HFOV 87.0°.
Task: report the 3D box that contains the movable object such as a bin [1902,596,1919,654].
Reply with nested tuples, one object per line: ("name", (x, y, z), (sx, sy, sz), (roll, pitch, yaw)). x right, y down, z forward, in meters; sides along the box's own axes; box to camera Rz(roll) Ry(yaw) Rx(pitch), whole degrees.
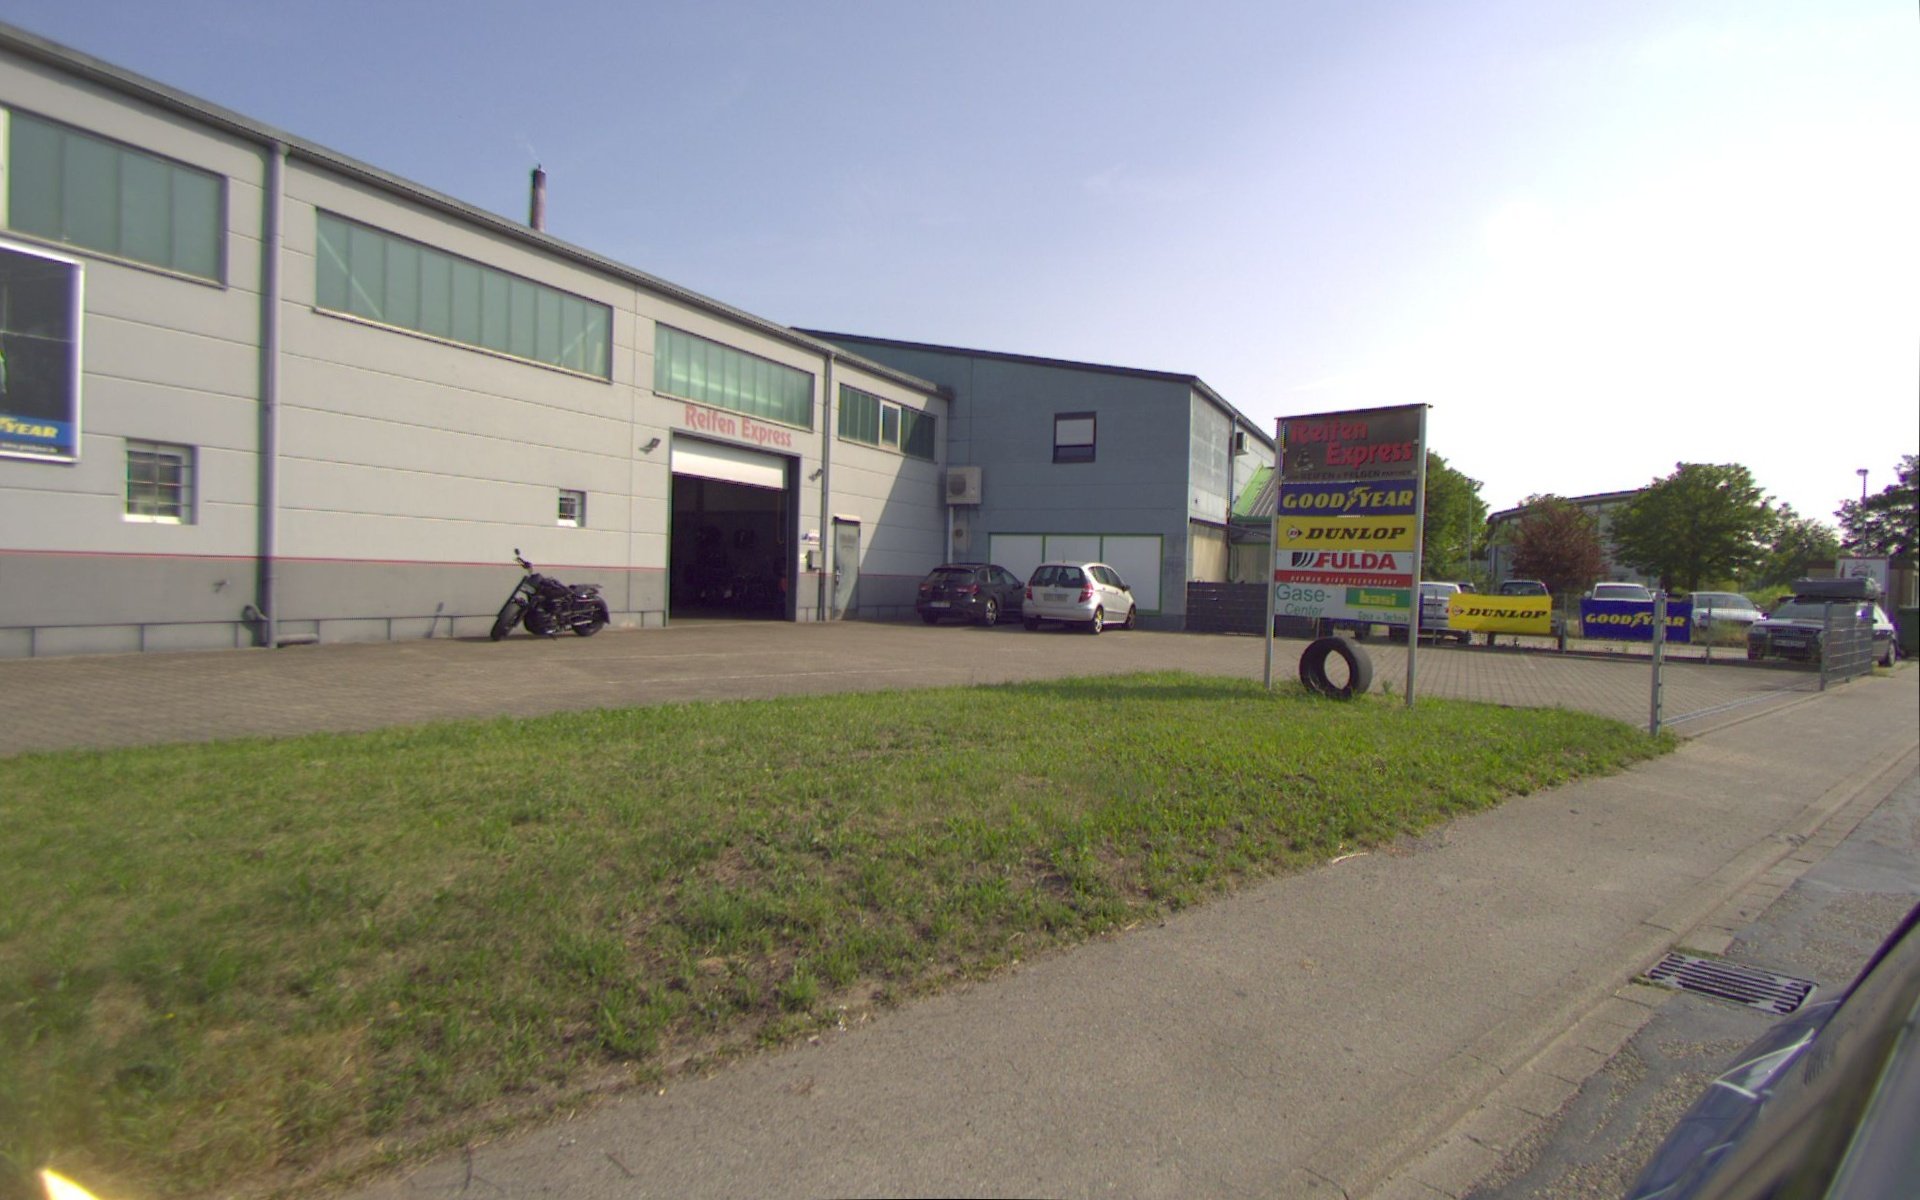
("movable object such as a bin", (24.105, 0.640, 24.876), (1.478, 1.369, 1.084), (0, 4, -38))

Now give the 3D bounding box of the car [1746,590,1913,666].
("car", (18.076, 0.531, 20.987), (4.311, 1.385, 1.679), (0, 2, -36))

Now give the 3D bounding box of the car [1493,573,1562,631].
("car", (18.144, 0.024, 32.473), (1.627, 1.741, 3.187), (2, 2, 25))

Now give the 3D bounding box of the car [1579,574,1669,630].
("car", (20.821, 0.021, 31.891), (1.703, 1.591, 4.098), (2, 2, 25))

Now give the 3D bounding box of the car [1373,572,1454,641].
("car", (11.166, 0.101, 24.930), (1.627, 1.484, 4.424), (2, 2, 25))

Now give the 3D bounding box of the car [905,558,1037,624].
("car", (0.339, -0.237, 24.166), (1.666, 1.420, 3.676), (2, 2, 27))

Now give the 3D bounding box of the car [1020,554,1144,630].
("car", (2.892, -0.222, 23.372), (1.624, 1.587, 3.769), (2, 2, 27))

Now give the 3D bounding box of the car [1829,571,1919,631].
("car", (42.268, 0.043, 43.930), (6.703, 2.571, 2.252), (1, 0, 36))

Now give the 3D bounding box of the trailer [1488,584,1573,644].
("trailer", (12.964, 0.282, 23.115), (1.479, 1.264, 2.951), (0, 0, 25))

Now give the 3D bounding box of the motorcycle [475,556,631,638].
("motorcycle", (-5.943, -0.063, 14.927), (0.795, 1.108, 2.184), (2, 2, 25))

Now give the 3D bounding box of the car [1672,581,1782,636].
("car", (22.851, 0.187, 30.318), (1.675, 1.484, 4.227), (2, 2, 25))
